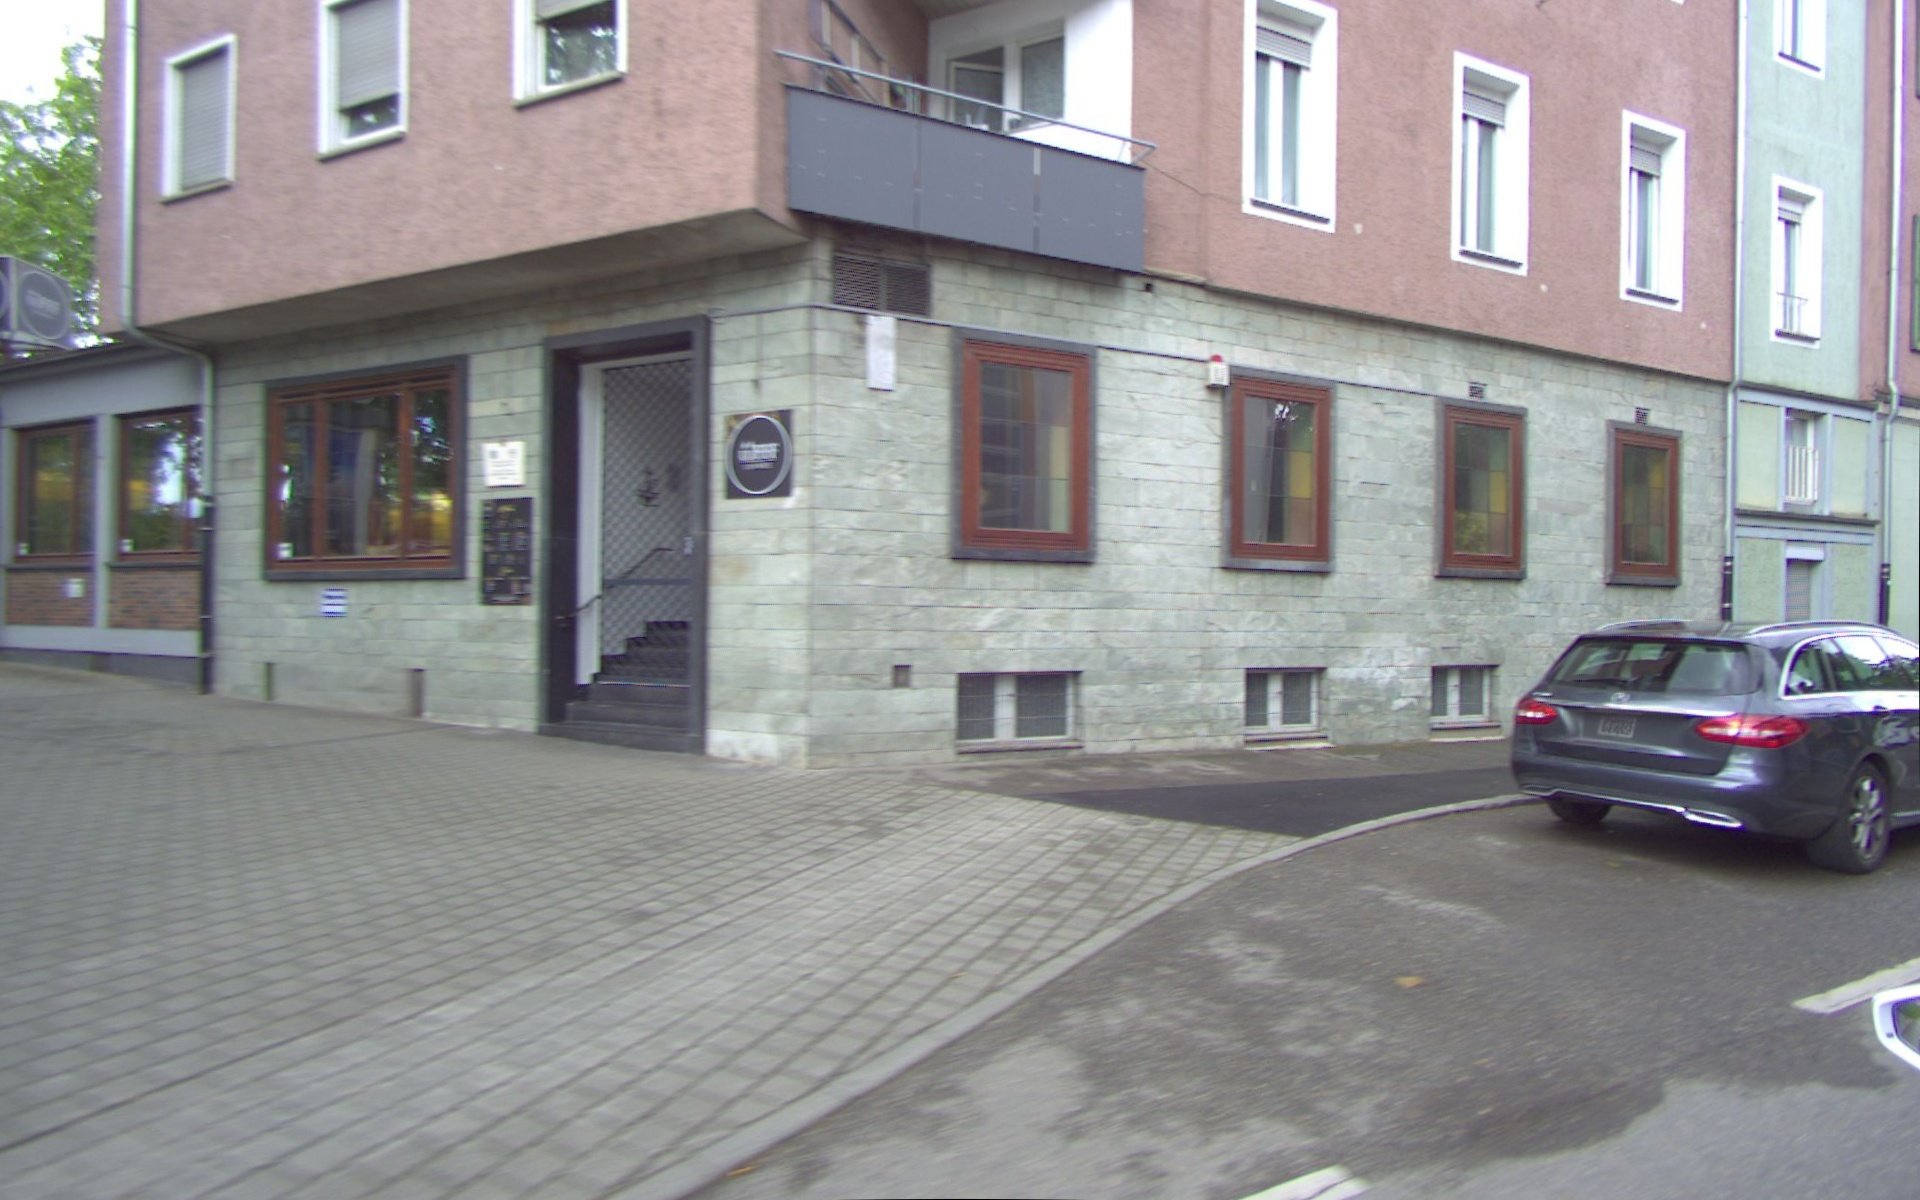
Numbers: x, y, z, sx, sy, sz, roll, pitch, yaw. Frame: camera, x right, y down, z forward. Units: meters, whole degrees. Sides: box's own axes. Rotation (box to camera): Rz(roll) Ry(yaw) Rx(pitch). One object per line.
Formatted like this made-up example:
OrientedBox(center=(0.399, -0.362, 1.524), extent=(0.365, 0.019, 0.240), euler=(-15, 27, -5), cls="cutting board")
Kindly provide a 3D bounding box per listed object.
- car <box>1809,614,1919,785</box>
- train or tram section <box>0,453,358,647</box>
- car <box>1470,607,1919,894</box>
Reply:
OrientedBox(center=(10.591, 0.926, 9.545), extent=(4.849, 1.474, 1.825), euler=(1, -1, -22), cls="car")
OrientedBox(center=(-19.118, -0.995, 21.332), extent=(2.870, 3.720, 10.999), euler=(4, 0, 25), cls="train or tram section")
OrientedBox(center=(5.869, 0.836, 7.061), extent=(4.527, 1.474, 1.822), euler=(2, -1, -28), cls="car")
